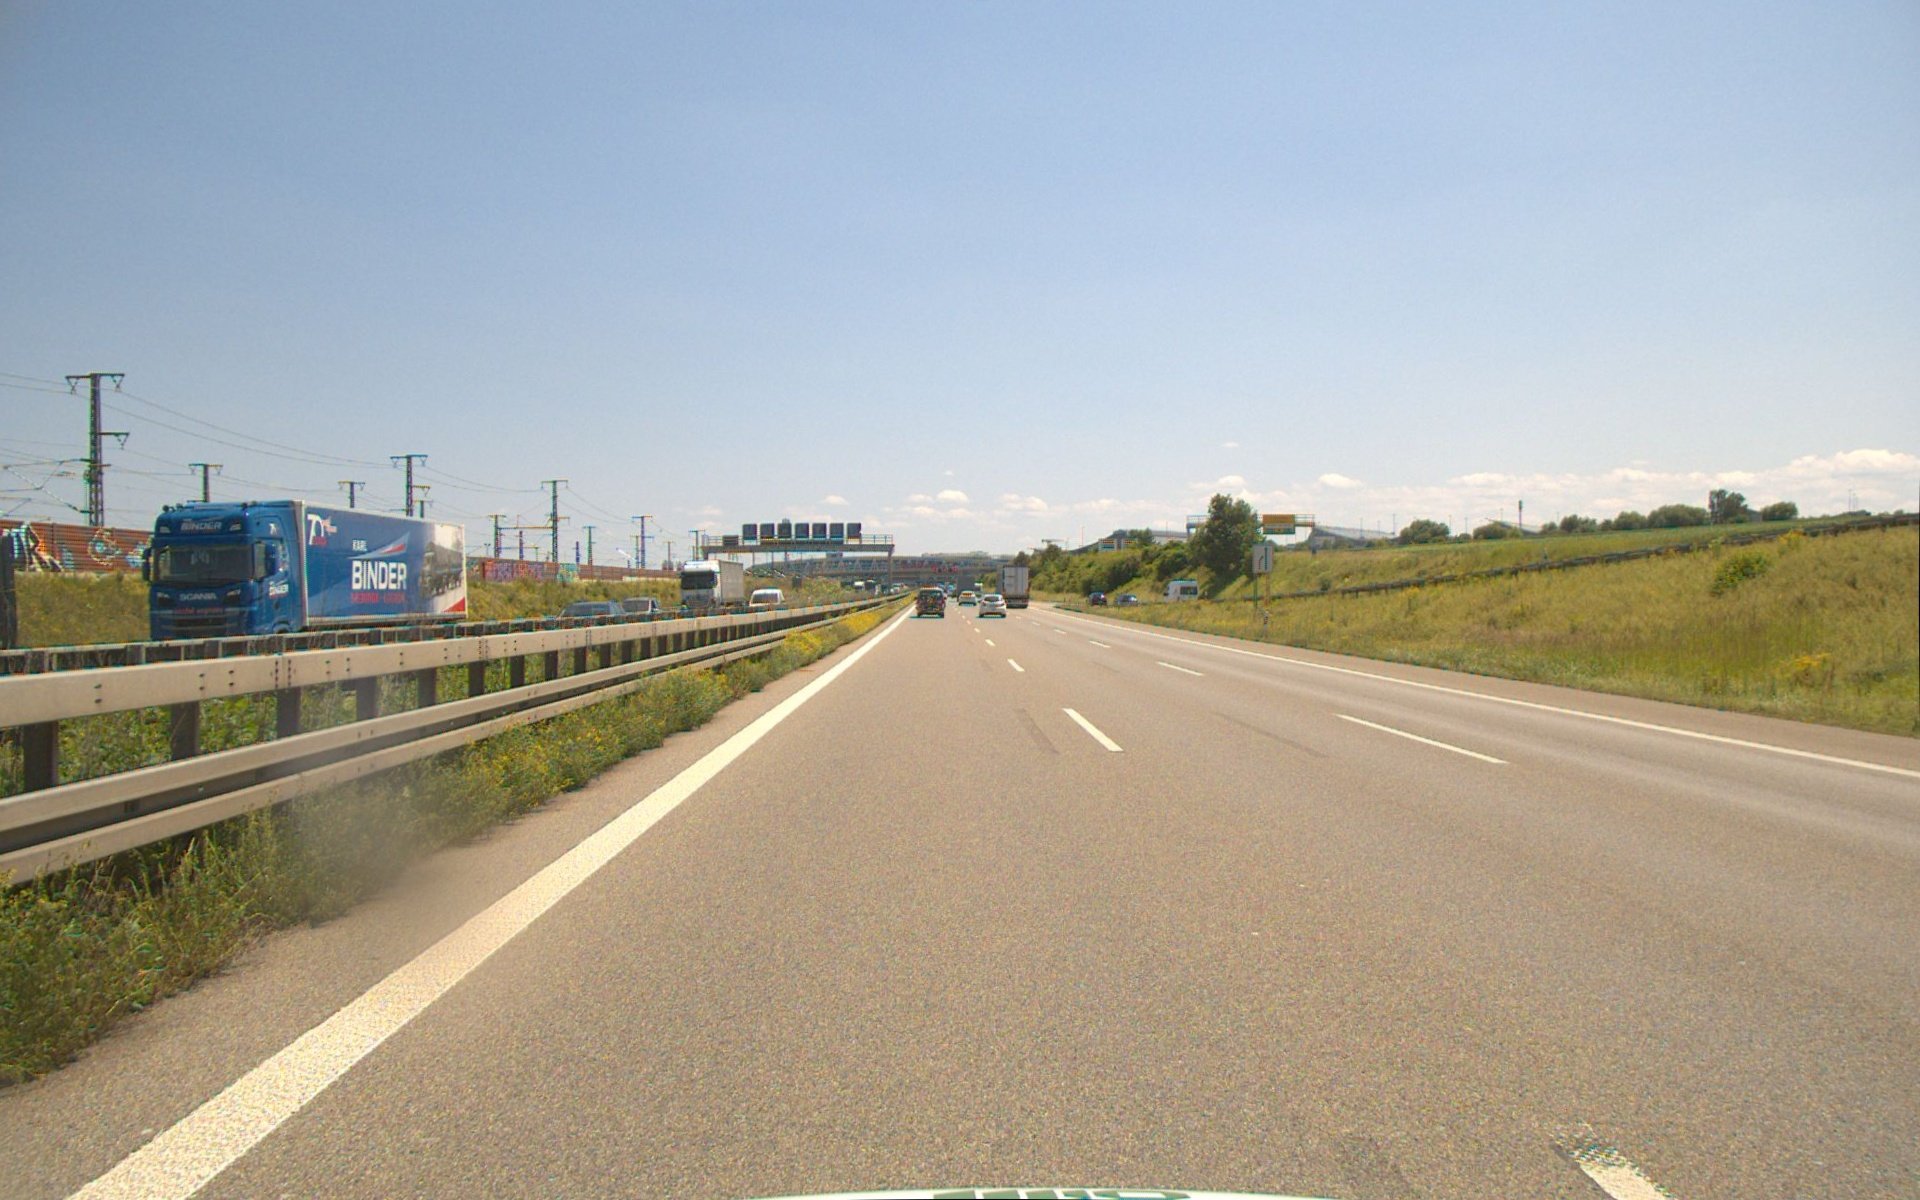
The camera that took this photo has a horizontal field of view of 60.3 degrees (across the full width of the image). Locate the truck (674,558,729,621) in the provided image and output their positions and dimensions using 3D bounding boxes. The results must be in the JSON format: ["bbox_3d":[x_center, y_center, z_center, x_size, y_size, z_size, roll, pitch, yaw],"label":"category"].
[{"bbox_3d":[-17.789,-0.733,114.136,2.674,4.143,6.380,-1,0,0],"label":"truck"}]

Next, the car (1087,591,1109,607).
[{"bbox_3d":[15.276,-0.133,183.676,1.953,1.624,3.998,1,-1,-1],"label":"car"}]

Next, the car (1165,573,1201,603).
[{"bbox_3d":[19.293,-1.051,143.554,2.228,2.572,5.397,0,0,-2],"label":"car"}]

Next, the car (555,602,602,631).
[{"bbox_3d":[-21.103,0.911,91.582,1.718,1.546,3.835,0,0,-1],"label":"car"}]

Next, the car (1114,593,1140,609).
[{"bbox_3d":[16.506,0.110,163.916,1.954,1.534,3.997,2,-1,-3],"label":"car"}]

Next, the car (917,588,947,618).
[{"bbox_3d":[-1.785,0.200,104.454,1.842,1.806,3.999,-1,0,-1],"label":"car"}]

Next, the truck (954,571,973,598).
[{"bbox_3d":[0.448,-2.054,217.667,2.307,3.476,6.056,0,0,-1],"label":"truck"}]

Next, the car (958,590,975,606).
[{"bbox_3d":[0.687,-0.204,175.200,1.842,1.553,4.000,1,0,0],"label":"car"}]

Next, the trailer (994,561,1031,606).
[{"bbox_3d":[5.051,-1.575,160.172,3.113,4.130,9.438,-1,0,-1],"label":"trailer"}]

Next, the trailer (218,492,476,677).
[{"bbox_3d":[-16.827,-0.413,46.651,2.829,4.484,12.089,-1,0,-1],"label":"trailer"}]

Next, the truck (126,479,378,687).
[{"bbox_3d":[-16.747,-0.392,39.780,2.829,4.484,7.502,-1,0,-1],"label":"truck"}]

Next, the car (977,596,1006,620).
[{"bbox_3d":[2.085,0.518,108.482,1.842,1.553,4.001,1,0,2],"label":"car"}]

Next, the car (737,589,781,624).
[{"bbox_3d":[-10.434,0.316,86.265,1.779,1.816,4.537,0,0,-1],"label":"car"}]

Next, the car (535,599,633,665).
[{"bbox_3d":[-10.114,0.864,44.776,1.684,1.662,4.191,1,-1,-1],"label":"car"}]
